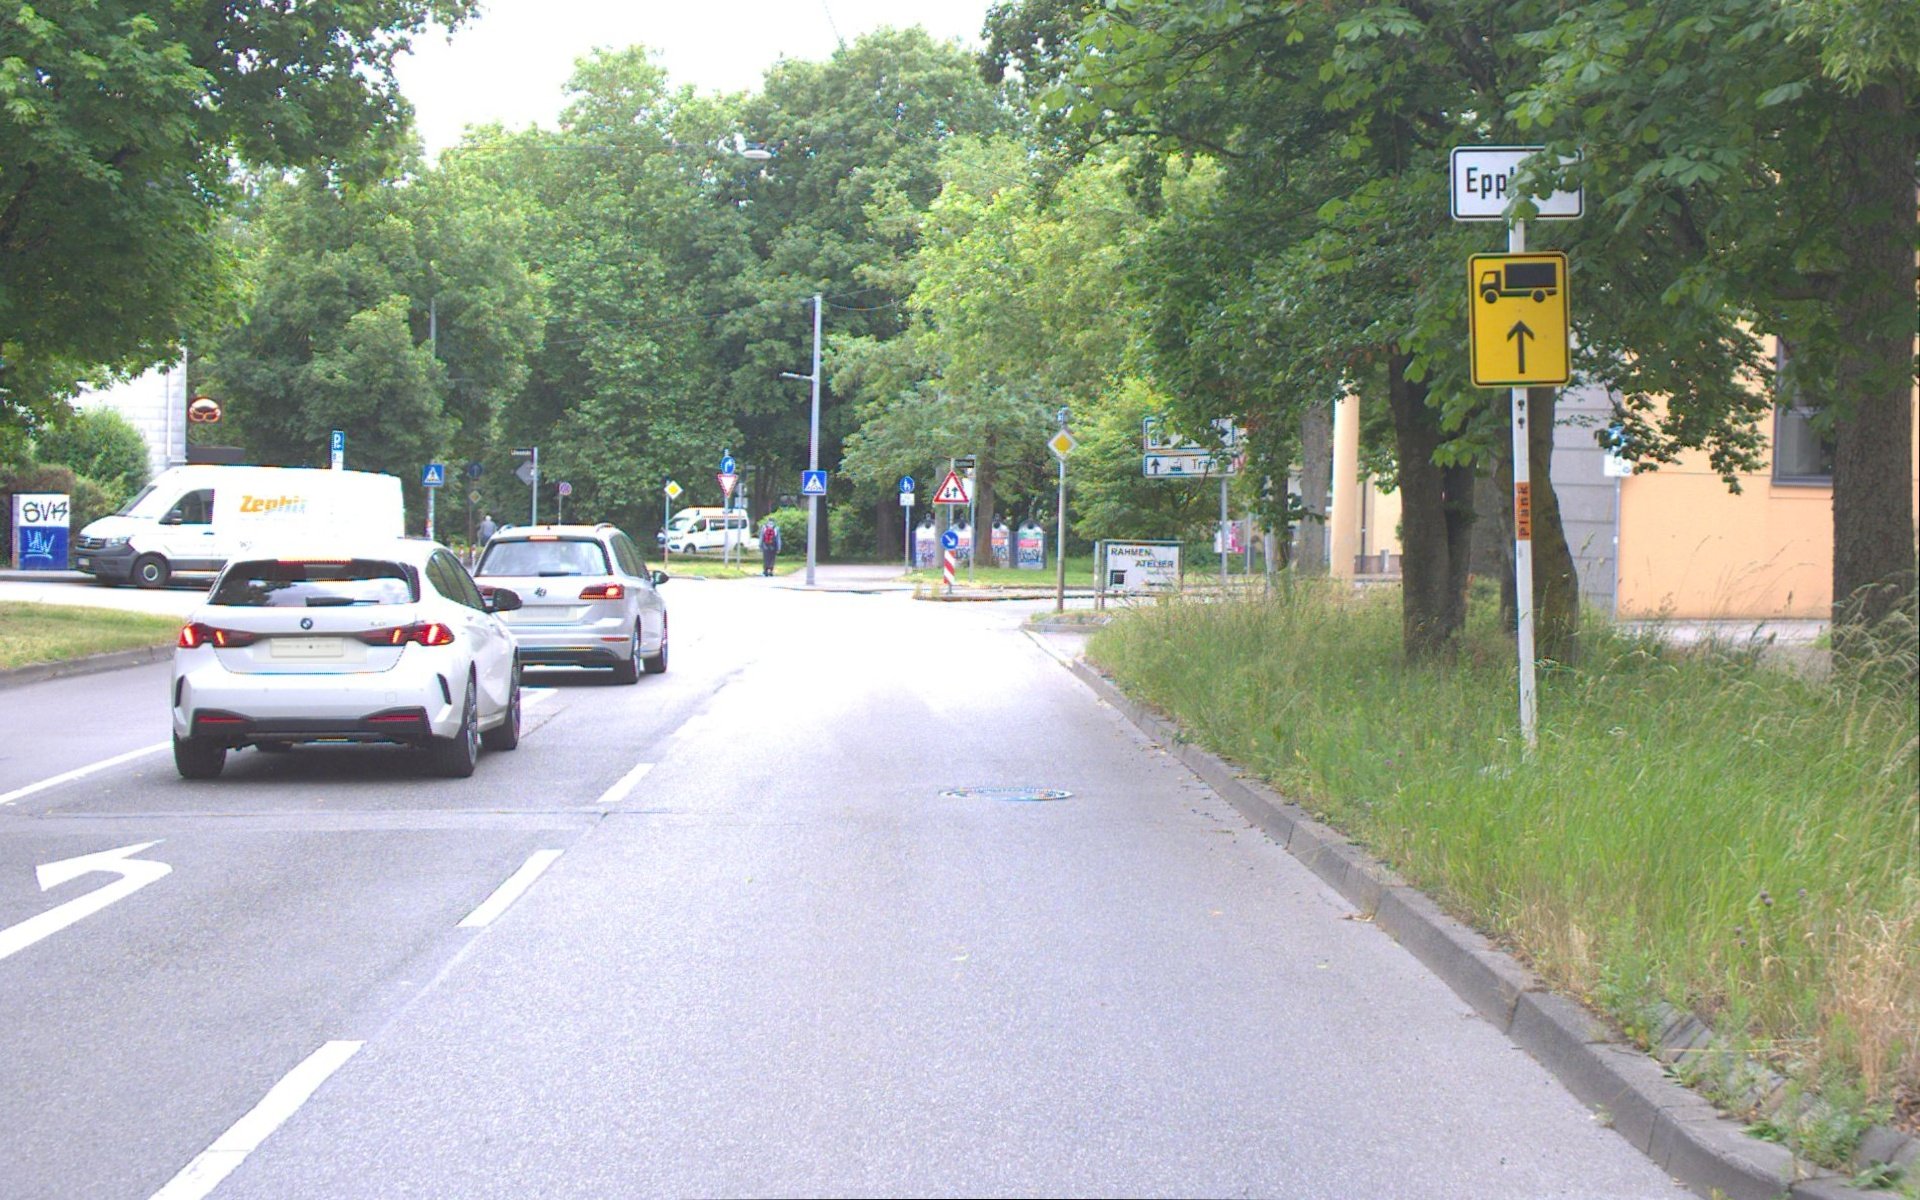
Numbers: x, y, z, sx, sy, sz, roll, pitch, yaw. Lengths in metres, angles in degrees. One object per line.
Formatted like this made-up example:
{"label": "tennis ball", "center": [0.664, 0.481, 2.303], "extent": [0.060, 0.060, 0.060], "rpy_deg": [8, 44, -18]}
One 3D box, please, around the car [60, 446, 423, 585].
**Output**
{"label": "car", "center": [-14.660, -1.695, 70.433], "extent": [6.959, 2.513, 2.085], "rpy_deg": [1, 3, -38]}

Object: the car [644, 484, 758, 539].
{"label": "car", "center": [-12.180, -4.159, 161.852], "extent": [2.136, 2.289, 5.373], "rpy_deg": [6, 3, 38]}

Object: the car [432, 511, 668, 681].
{"label": "car", "center": [-4.116, -0.089, 35.077], "extent": [1.923, 1.568, 4.000], "rpy_deg": [1, 2, -1]}

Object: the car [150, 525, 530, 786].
{"label": "car", "center": [-3.901, 0.283, 22.291], "extent": [1.795, 1.512, 4.207], "rpy_deg": [-1, 1, -2]}

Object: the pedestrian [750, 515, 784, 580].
{"label": "pedestrian", "center": [-5.852, -1.599, 104.048], "extent": [0.923, 1.865, 1.019], "rpy_deg": [-2, 4, -4]}
